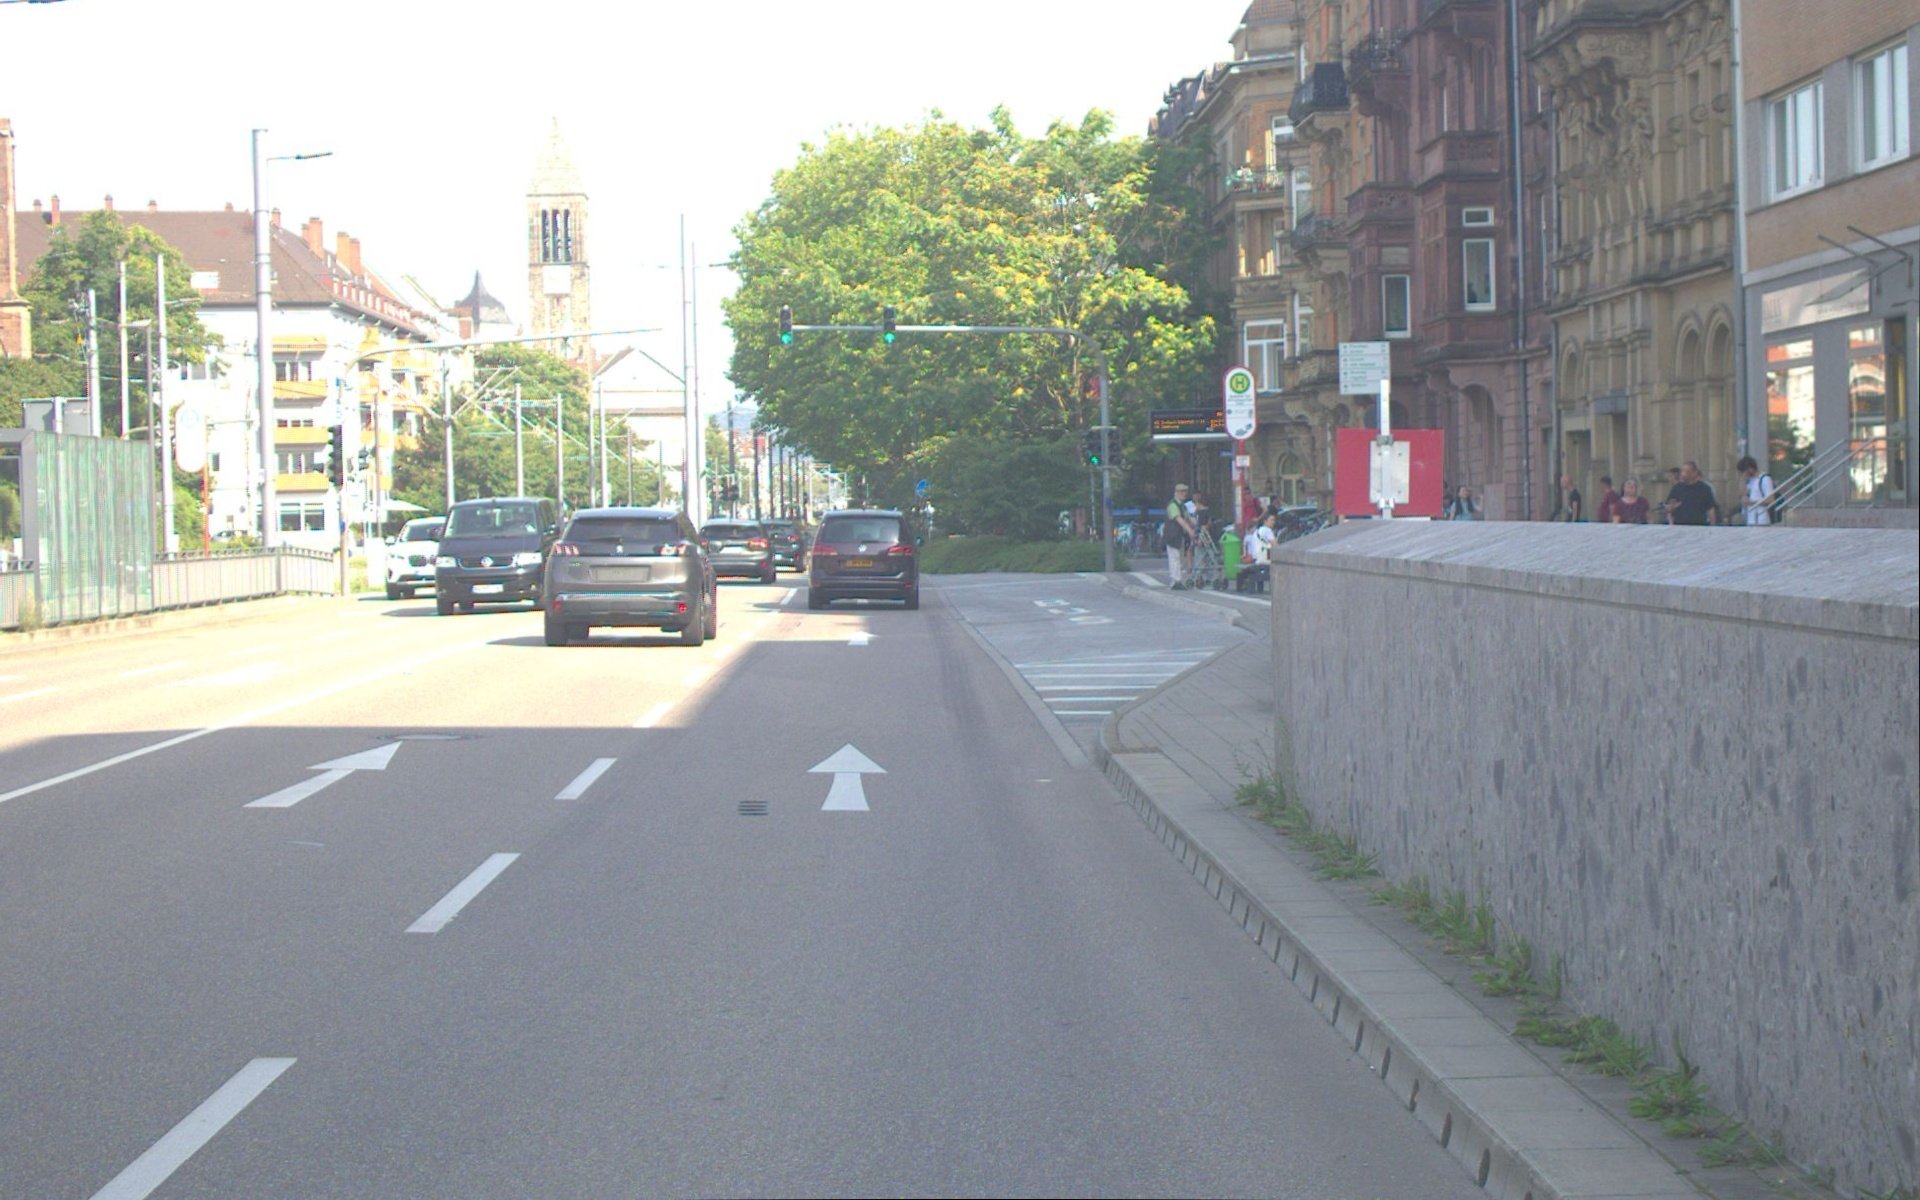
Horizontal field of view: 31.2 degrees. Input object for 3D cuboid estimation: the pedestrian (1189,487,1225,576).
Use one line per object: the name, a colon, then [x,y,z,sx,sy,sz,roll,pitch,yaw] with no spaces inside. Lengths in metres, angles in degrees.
pedestrian: [4.540,-1.259,63.206,0.528,1.606,0.703,-1,2,-4]

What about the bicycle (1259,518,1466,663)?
bicycle: [3.321,-0.082,28.398,1.632,1.144,0.385,-2,2,-6]

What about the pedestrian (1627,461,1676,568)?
pedestrian: [10.978,-1.359,54.608,0.603,1.686,0.587,-1,2,-4]

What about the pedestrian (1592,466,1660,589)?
pedestrian: [8.883,-0.971,45.876,0.720,1.604,0.856,-1,2,0]

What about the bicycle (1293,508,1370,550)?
bicycle: [9.810,-1.879,90.820,1.927,1.044,0.500,-2,2,-6]

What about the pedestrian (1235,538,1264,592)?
pedestrian: [4.521,-0.549,53.670,0.303,0.817,0.604,-2,2,-8]

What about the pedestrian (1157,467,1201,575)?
pedestrian: [3.538,-1.285,55.543,0.565,1.723,0.745,-1,2,-4]

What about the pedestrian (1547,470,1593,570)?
pedestrian: [10.610,-1.394,59.794,0.629,1.713,0.691,-1,2,-1]

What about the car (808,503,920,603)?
car: [-1.614,-0.837,58.698,1.831,1.615,4.357,0,2,-1]

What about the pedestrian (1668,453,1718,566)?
pedestrian: [11.282,-1.398,52.944,0.603,1.725,0.511,-1,2,-4]

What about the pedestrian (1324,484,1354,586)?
pedestrian: [6.470,-1.111,58.736,0.341,1.726,0.806,-1,2,-4]

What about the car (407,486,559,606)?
car: [-8.153,-0.962,59.176,1.993,1.897,4.717,-3,2,-1]

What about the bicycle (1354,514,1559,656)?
bicycle: [4.192,-0.135,29.078,1.633,1.144,0.601,-1,2,1]

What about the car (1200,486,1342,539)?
car: [9.883,-2.780,109.324,4.179,1.558,2.001,-2,2,-5]

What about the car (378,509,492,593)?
car: [-10.800,-1.036,70.999,1.713,1.606,4.505,-3,2,-1]

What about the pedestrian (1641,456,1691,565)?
pedestrian: [11.078,-1.400,53.919,0.603,1.686,0.587,-1,2,-4]

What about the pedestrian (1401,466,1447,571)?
pedestrian: [8.096,-1.420,59.989,0.617,1.798,1.071,-1,2,0]

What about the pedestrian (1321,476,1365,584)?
pedestrian: [6.173,-1.131,55.433,0.565,1.723,0.617,-1,2,-4]

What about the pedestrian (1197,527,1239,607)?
pedestrian: [4.176,-0.533,55.702,0.565,1.273,0.597,-1,2,-5]

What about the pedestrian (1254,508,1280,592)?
pedestrian: [4.687,-0.761,52.509,0.275,1.270,0.448,-2,2,-8]

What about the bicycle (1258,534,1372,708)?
bicycle: [2.452,0.122,23.875,0.407,1.144,1.657,-2,2,-7]

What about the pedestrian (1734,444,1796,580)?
pedestrian: [10.965,-1.200,46.858,0.603,1.825,0.742,-1,2,-4]

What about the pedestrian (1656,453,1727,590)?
pedestrian: [9.690,-1.045,45.558,0.720,1.781,0.856,-1,2,0]

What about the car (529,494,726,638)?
car: [-3.904,-0.452,41.030,1.993,1.615,4.357,0,2,-1]

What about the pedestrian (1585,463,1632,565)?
pedestrian: [10.668,-1.413,56.562,0.603,1.649,0.587,-1,2,-4]

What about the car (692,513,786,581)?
car: [-4.850,-1.185,76.029,1.864,1.419,4.357,0,2,-1]

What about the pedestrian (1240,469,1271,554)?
pedestrian: [5.974,-1.793,69.524,0.481,1.696,0.703,-1,2,-4]

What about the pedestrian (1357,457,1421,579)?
pedestrian: [6.170,-1.184,49.483,0.749,1.723,0.801,-1,2,-4]

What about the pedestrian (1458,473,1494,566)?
pedestrian: [9.009,-1.405,60.037,0.486,1.604,0.813,-1,2,0]

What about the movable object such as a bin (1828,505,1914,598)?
movable object such as a bin: [10.887,-0.586,41.111,0.736,1.077,0.670,-2,2,-18]

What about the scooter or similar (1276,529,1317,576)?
scooter or similar: [5.430,-0.776,55.544,0.565,0.739,0.514,-1,2,-4]

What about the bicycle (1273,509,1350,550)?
bicycle: [9.195,-1.845,89.861,1.927,1.044,0.500,-2,2,-6]

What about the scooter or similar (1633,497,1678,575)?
scooter or similar: [10.462,-0.973,51.754,0.360,1.159,1.152,-1,2,-4]

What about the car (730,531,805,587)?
car: [-5.219,-1.137,93.718,1.864,1.419,4.357,0,2,-1]

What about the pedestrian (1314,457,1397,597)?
pedestrian: [5.267,-0.971,45.778,0.925,1.825,0.801,-1,2,-4]
